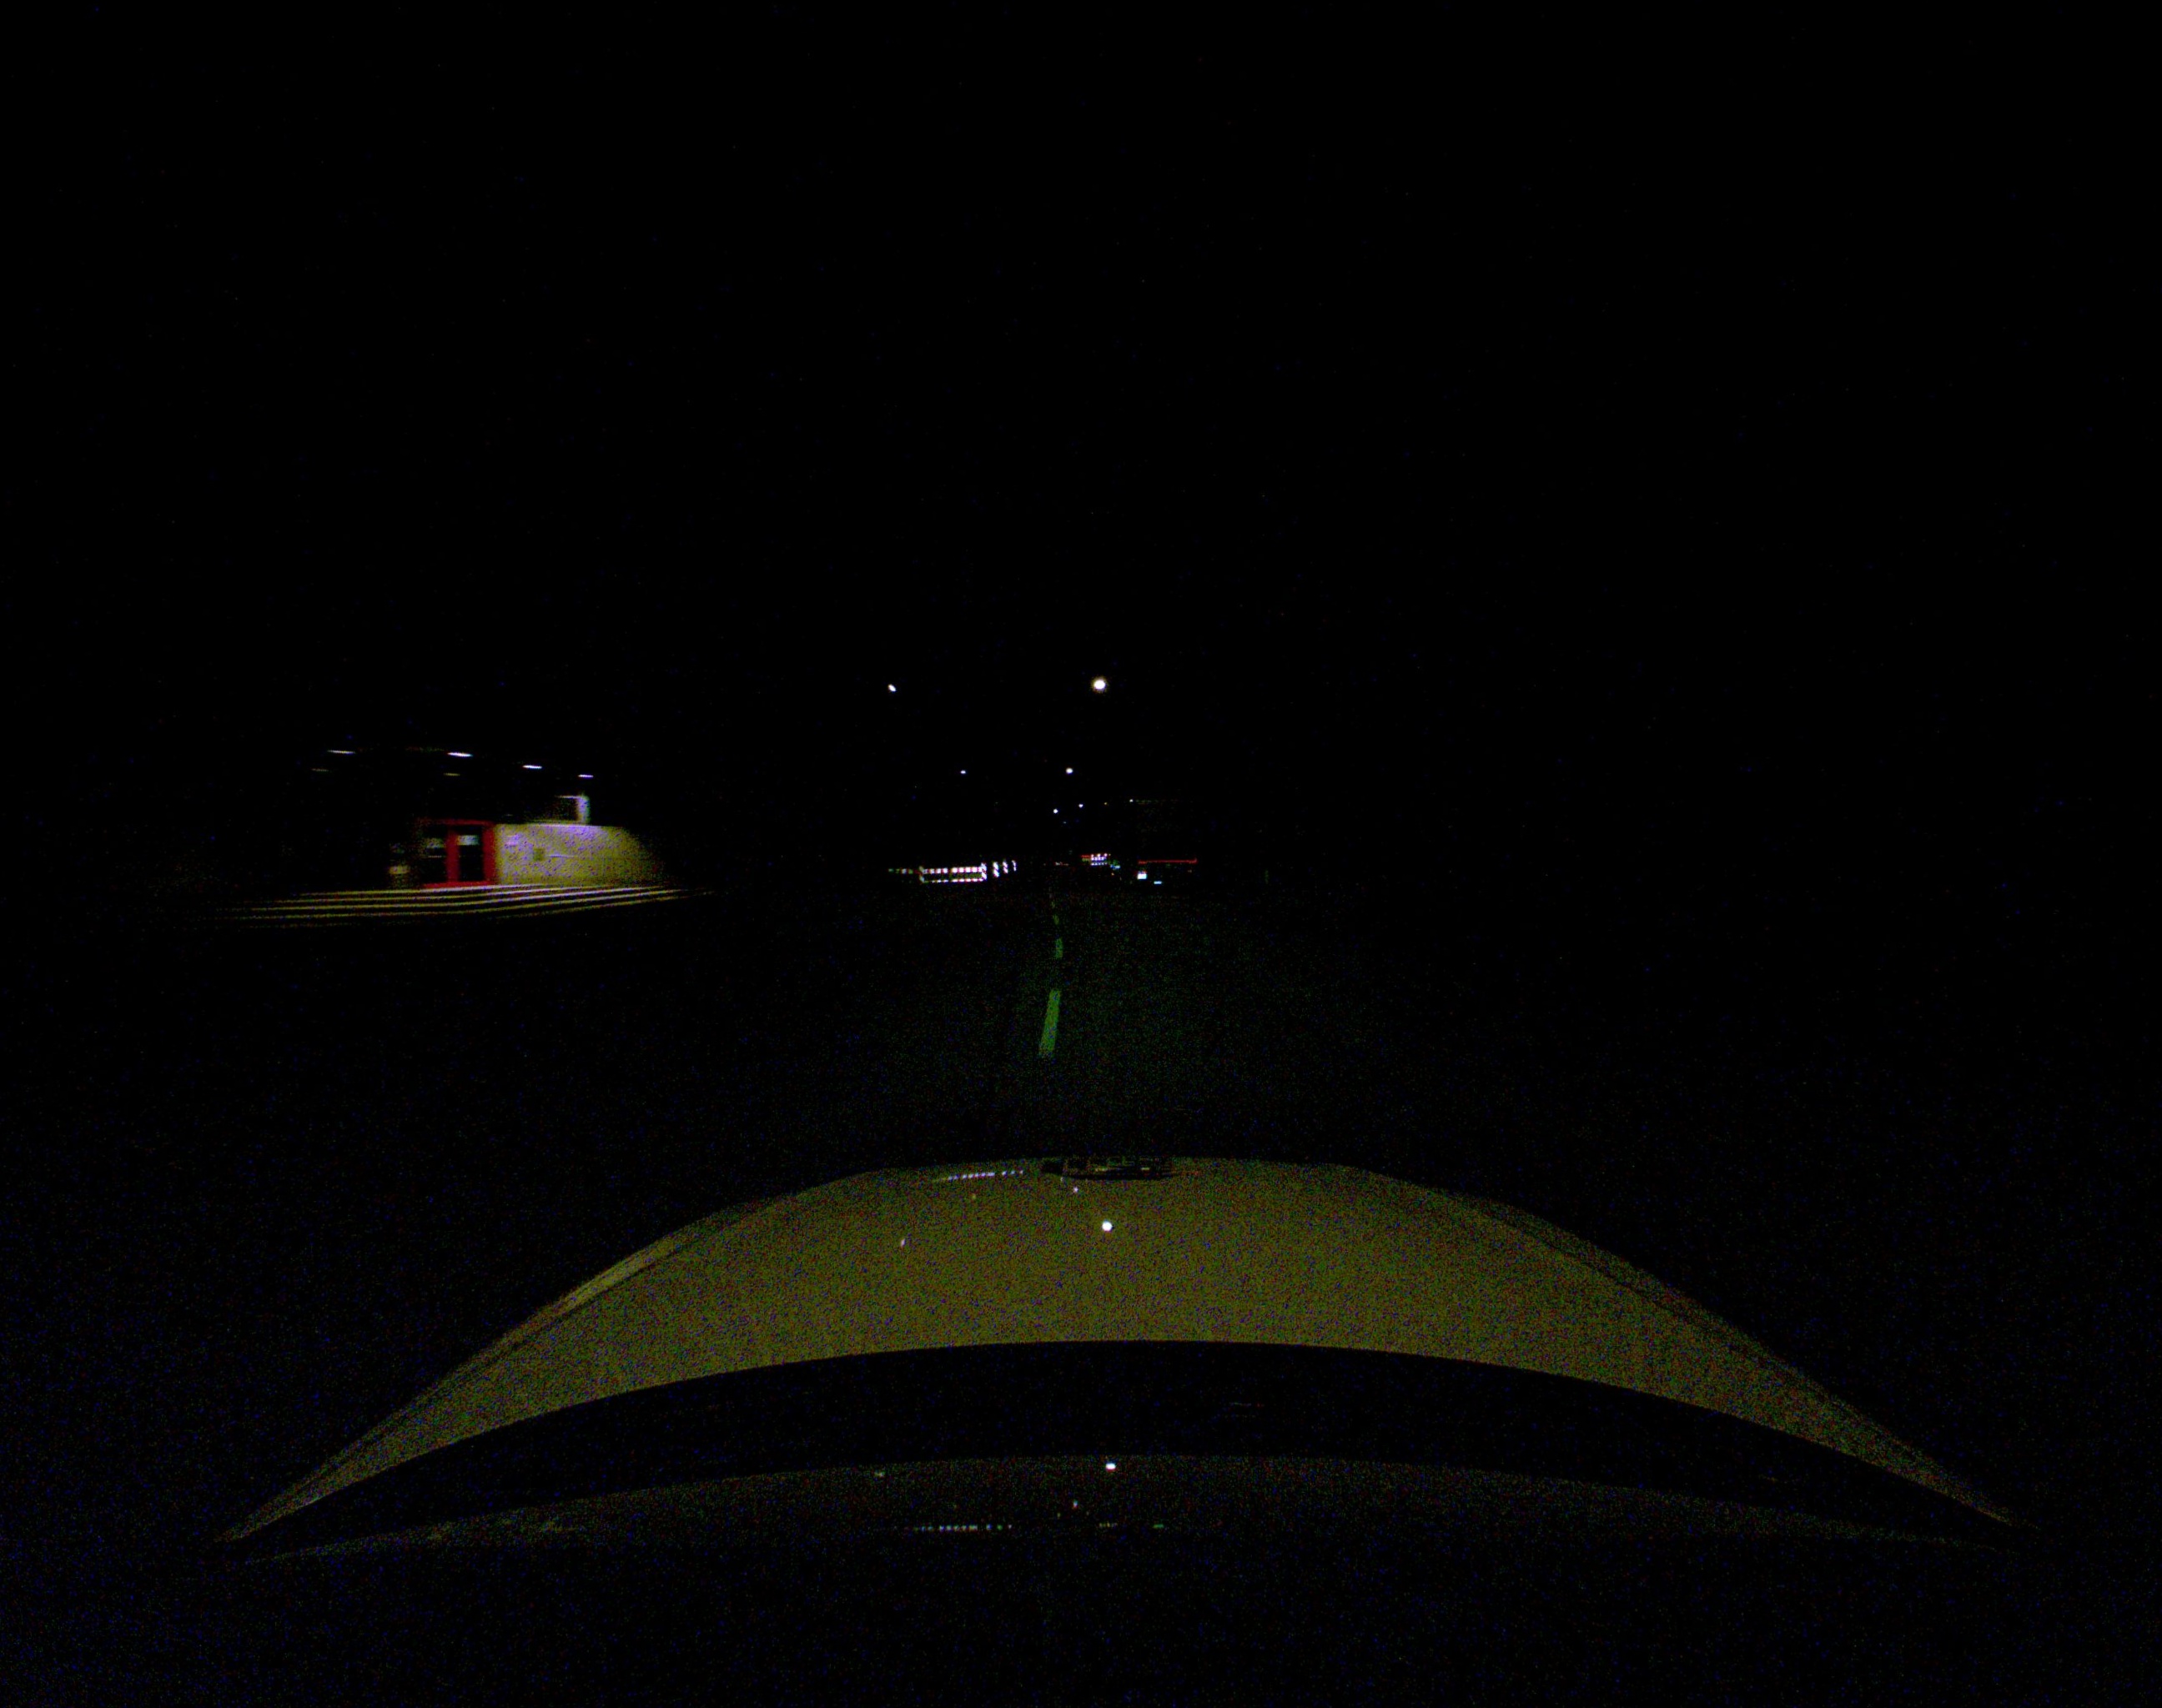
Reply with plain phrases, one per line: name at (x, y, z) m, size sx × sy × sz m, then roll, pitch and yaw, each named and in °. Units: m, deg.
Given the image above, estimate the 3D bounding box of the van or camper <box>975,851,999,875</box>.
van or camper at (-12.814, 1.210, 111.665) m, size 2.512 × 3.094 × 7.440 m, roll -3°, pitch -1°, yaw -1°

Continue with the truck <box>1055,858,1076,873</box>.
truck at (-3.712, 2.830, 200.733) m, size 1.976 × 3.404 × 9.026 m, roll 0°, pitch 0°, yaw 21°

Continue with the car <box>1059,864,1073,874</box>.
car at (-2.855, 2.966, 158.541) m, size 1.709 × 1.821 × 4.013 m, roll -1°, pitch -1°, yaw 13°

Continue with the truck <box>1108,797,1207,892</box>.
truck at (3.296, -0.376, 38.047) m, size 3.316 × 3.868 × 9.317 m, roll -1°, pitch 0°, yaw -3°

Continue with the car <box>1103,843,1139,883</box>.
car at (2.645, 0.553, 55.455) m, size 2.102 × 2.516 × 6.370 m, roll -1°, pitch 0°, yaw 0°

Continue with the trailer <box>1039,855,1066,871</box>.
trailer at (-4.084, 1.292, 115.061) m, size 1.569 × 2.160 × 5.170 m, roll -3°, pitch -1°, yaw -30°

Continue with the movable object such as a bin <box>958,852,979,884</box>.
movable object such as a bin at (-10.252, 1.194, 73.939) m, size 1.570 × 2.734 × 3.689 m, roll -4°, pitch 1°, yaw -9°

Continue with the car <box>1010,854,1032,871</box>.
car at (-12.248, 1.755, 166.233) m, size 2.503 × 3.171 × 7.159 m, roll -3°, pitch -1°, yaw 11°

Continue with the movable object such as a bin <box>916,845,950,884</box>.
movable object such as a bin at (-9.939, 0.732, 54.474) m, size 1.555 × 2.467 × 2.817 m, roll -2°, pitch -1°, yaw -23°

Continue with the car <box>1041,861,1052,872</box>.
car at (-5.449, 2.006, 129.723) m, size 1.716 × 1.661 × 3.996 m, roll -1°, pitch -1°, yaw -2°

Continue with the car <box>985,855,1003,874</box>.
car at (-14.449, 1.738, 135.832) m, size 2.514 × 2.927 × 7.190 m, roll -3°, pitch -1°, yaw -4°

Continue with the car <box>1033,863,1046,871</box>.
car at (-9.278, 2.889, 182.507) m, size 1.980 × 1.699 × 4.220 m, roll -1°, pitch -1°, yaw 12°
